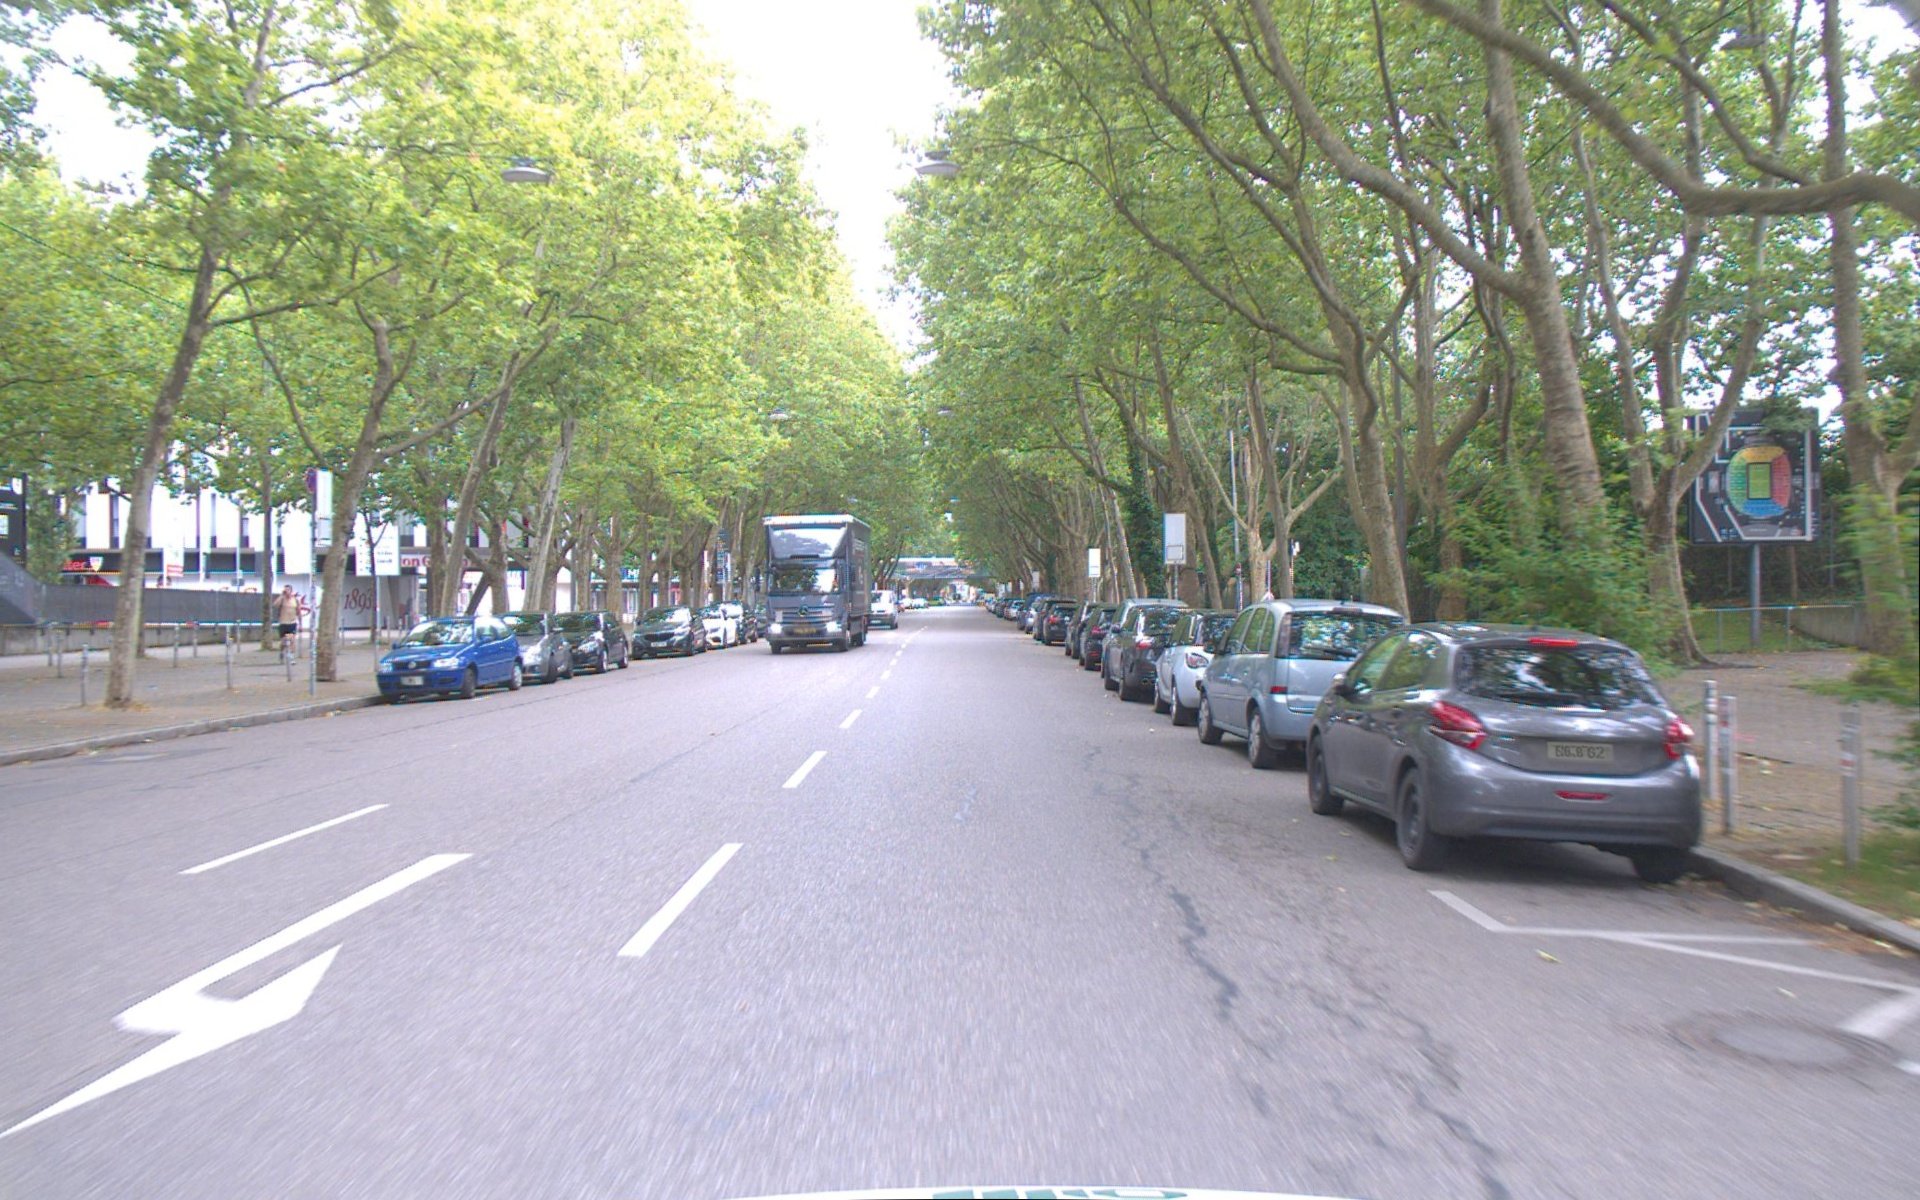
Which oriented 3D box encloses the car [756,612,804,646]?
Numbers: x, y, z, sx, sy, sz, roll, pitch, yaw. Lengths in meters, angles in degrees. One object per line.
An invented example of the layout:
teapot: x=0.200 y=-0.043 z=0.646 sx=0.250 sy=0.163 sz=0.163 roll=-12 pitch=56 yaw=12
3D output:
car: x=-8.262 y=1.379 z=76.255 sx=1.857 sy=1.463 sz=3.998 roll=-2 pitch=-2 yaw=-2

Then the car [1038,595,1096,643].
car: x=3.698 y=0.661 z=57.651 sx=1.720 sy=1.561 sz=3.928 roll=2 pitch=0 yaw=0

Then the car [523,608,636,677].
car: x=-8.897 y=0.992 z=38.925 sx=1.730 sy=1.443 sz=3.761 roll=-3 pitch=-1 yaw=0

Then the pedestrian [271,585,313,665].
pedestrian: x=-15.842 y=0.585 z=39.231 sx=0.763 sy=1.867 sz=0.868 roll=0 pitch=0 yaw=-34

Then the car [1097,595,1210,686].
car: x=3.739 y=0.750 z=32.562 sx=1.720 sy=1.625 sz=3.929 roll=2 pitch=0 yaw=0

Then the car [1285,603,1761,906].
car: x=3.533 y=0.853 z=11.316 sx=1.664 sy=1.545 sz=4.453 roll=3 pitch=0 yaw=0

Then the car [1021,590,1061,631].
car: x=4.130 y=0.505 z=84.501 sx=1.720 sy=1.847 sz=3.929 roll=-5 pitch=1 yaw=0

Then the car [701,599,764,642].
car: x=-8.488 y=0.794 z=61.908 sx=1.857 sy=1.463 sz=3.998 roll=-2 pitch=-2 yaw=-2

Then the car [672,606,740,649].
car: x=-8.575 y=0.947 z=56.192 sx=1.697 sy=1.355 sz=3.999 roll=-2 pitch=-2 yaw=-1

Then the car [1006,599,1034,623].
car: x=4.074 y=0.736 z=113.550 sx=1.720 sy=1.561 sz=3.928 roll=-2 pitch=0 yaw=0

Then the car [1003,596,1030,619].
car: x=4.029 y=0.519 z=118.758 sx=1.720 sy=1.561 sz=3.928 roll=-2 pitch=0 yaw=0

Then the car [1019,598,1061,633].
car: x=3.705 y=0.715 z=77.258 sx=1.720 sy=1.561 sz=3.928 roll=2 pitch=0 yaw=0

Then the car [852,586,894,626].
car: x=-4.405 y=0.285 z=84.289 sx=1.940 sy=1.967 sz=4.112 roll=0 pitch=0 yaw=0

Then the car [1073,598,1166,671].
car: x=3.646 y=0.768 z=38.377 sx=1.720 sy=1.561 sz=3.928 roll=2 pitch=0 yaw=0

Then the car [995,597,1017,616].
car: x=3.867 y=0.579 z=140.636 sx=1.720 sy=1.561 sz=3.928 roll=2 pitch=0 yaw=0

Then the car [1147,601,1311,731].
car: x=3.550 y=0.829 z=22.383 sx=1.641 sy=1.516 sz=3.687 roll=3 pitch=0 yaw=2

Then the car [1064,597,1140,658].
car: x=3.869 y=0.728 z=45.593 sx=1.720 sy=1.561 sz=3.928 roll=2 pitch=0 yaw=0

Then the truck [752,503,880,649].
truck: x=-4.235 y=-0.646 z=50.746 sx=2.586 sy=3.970 sz=9.543 roll=-2 pitch=0 yaw=2

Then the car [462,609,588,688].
car: x=-8.945 y=0.989 z=34.275 sx=1.731 sy=1.443 sz=3.758 roll=-3 pitch=-1 yaw=-3

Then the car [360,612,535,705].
car: x=-9.050 y=1.006 z=29.502 sx=1.660 sy=1.443 sz=3.763 roll=-3 pitch=-1 yaw=4

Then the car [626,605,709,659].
car: x=-8.623 y=0.950 z=48.989 sx=1.730 sy=1.443 sz=3.761 roll=-3 pitch=-1 yaw=0

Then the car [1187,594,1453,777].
car: x=3.595 y=0.791 z=17.263 sx=1.684 sy=1.594 sz=4.092 roll=3 pitch=0 yaw=-2

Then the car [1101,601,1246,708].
car: x=3.402 y=0.827 z=27.101 sx=1.720 sy=1.516 sz=4.416 roll=3 pitch=0 yaw=0

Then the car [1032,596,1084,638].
car: x=3.740 y=0.626 z=63.572 sx=1.720 sy=1.561 sz=3.929 roll=0 pitch=0 yaw=0
